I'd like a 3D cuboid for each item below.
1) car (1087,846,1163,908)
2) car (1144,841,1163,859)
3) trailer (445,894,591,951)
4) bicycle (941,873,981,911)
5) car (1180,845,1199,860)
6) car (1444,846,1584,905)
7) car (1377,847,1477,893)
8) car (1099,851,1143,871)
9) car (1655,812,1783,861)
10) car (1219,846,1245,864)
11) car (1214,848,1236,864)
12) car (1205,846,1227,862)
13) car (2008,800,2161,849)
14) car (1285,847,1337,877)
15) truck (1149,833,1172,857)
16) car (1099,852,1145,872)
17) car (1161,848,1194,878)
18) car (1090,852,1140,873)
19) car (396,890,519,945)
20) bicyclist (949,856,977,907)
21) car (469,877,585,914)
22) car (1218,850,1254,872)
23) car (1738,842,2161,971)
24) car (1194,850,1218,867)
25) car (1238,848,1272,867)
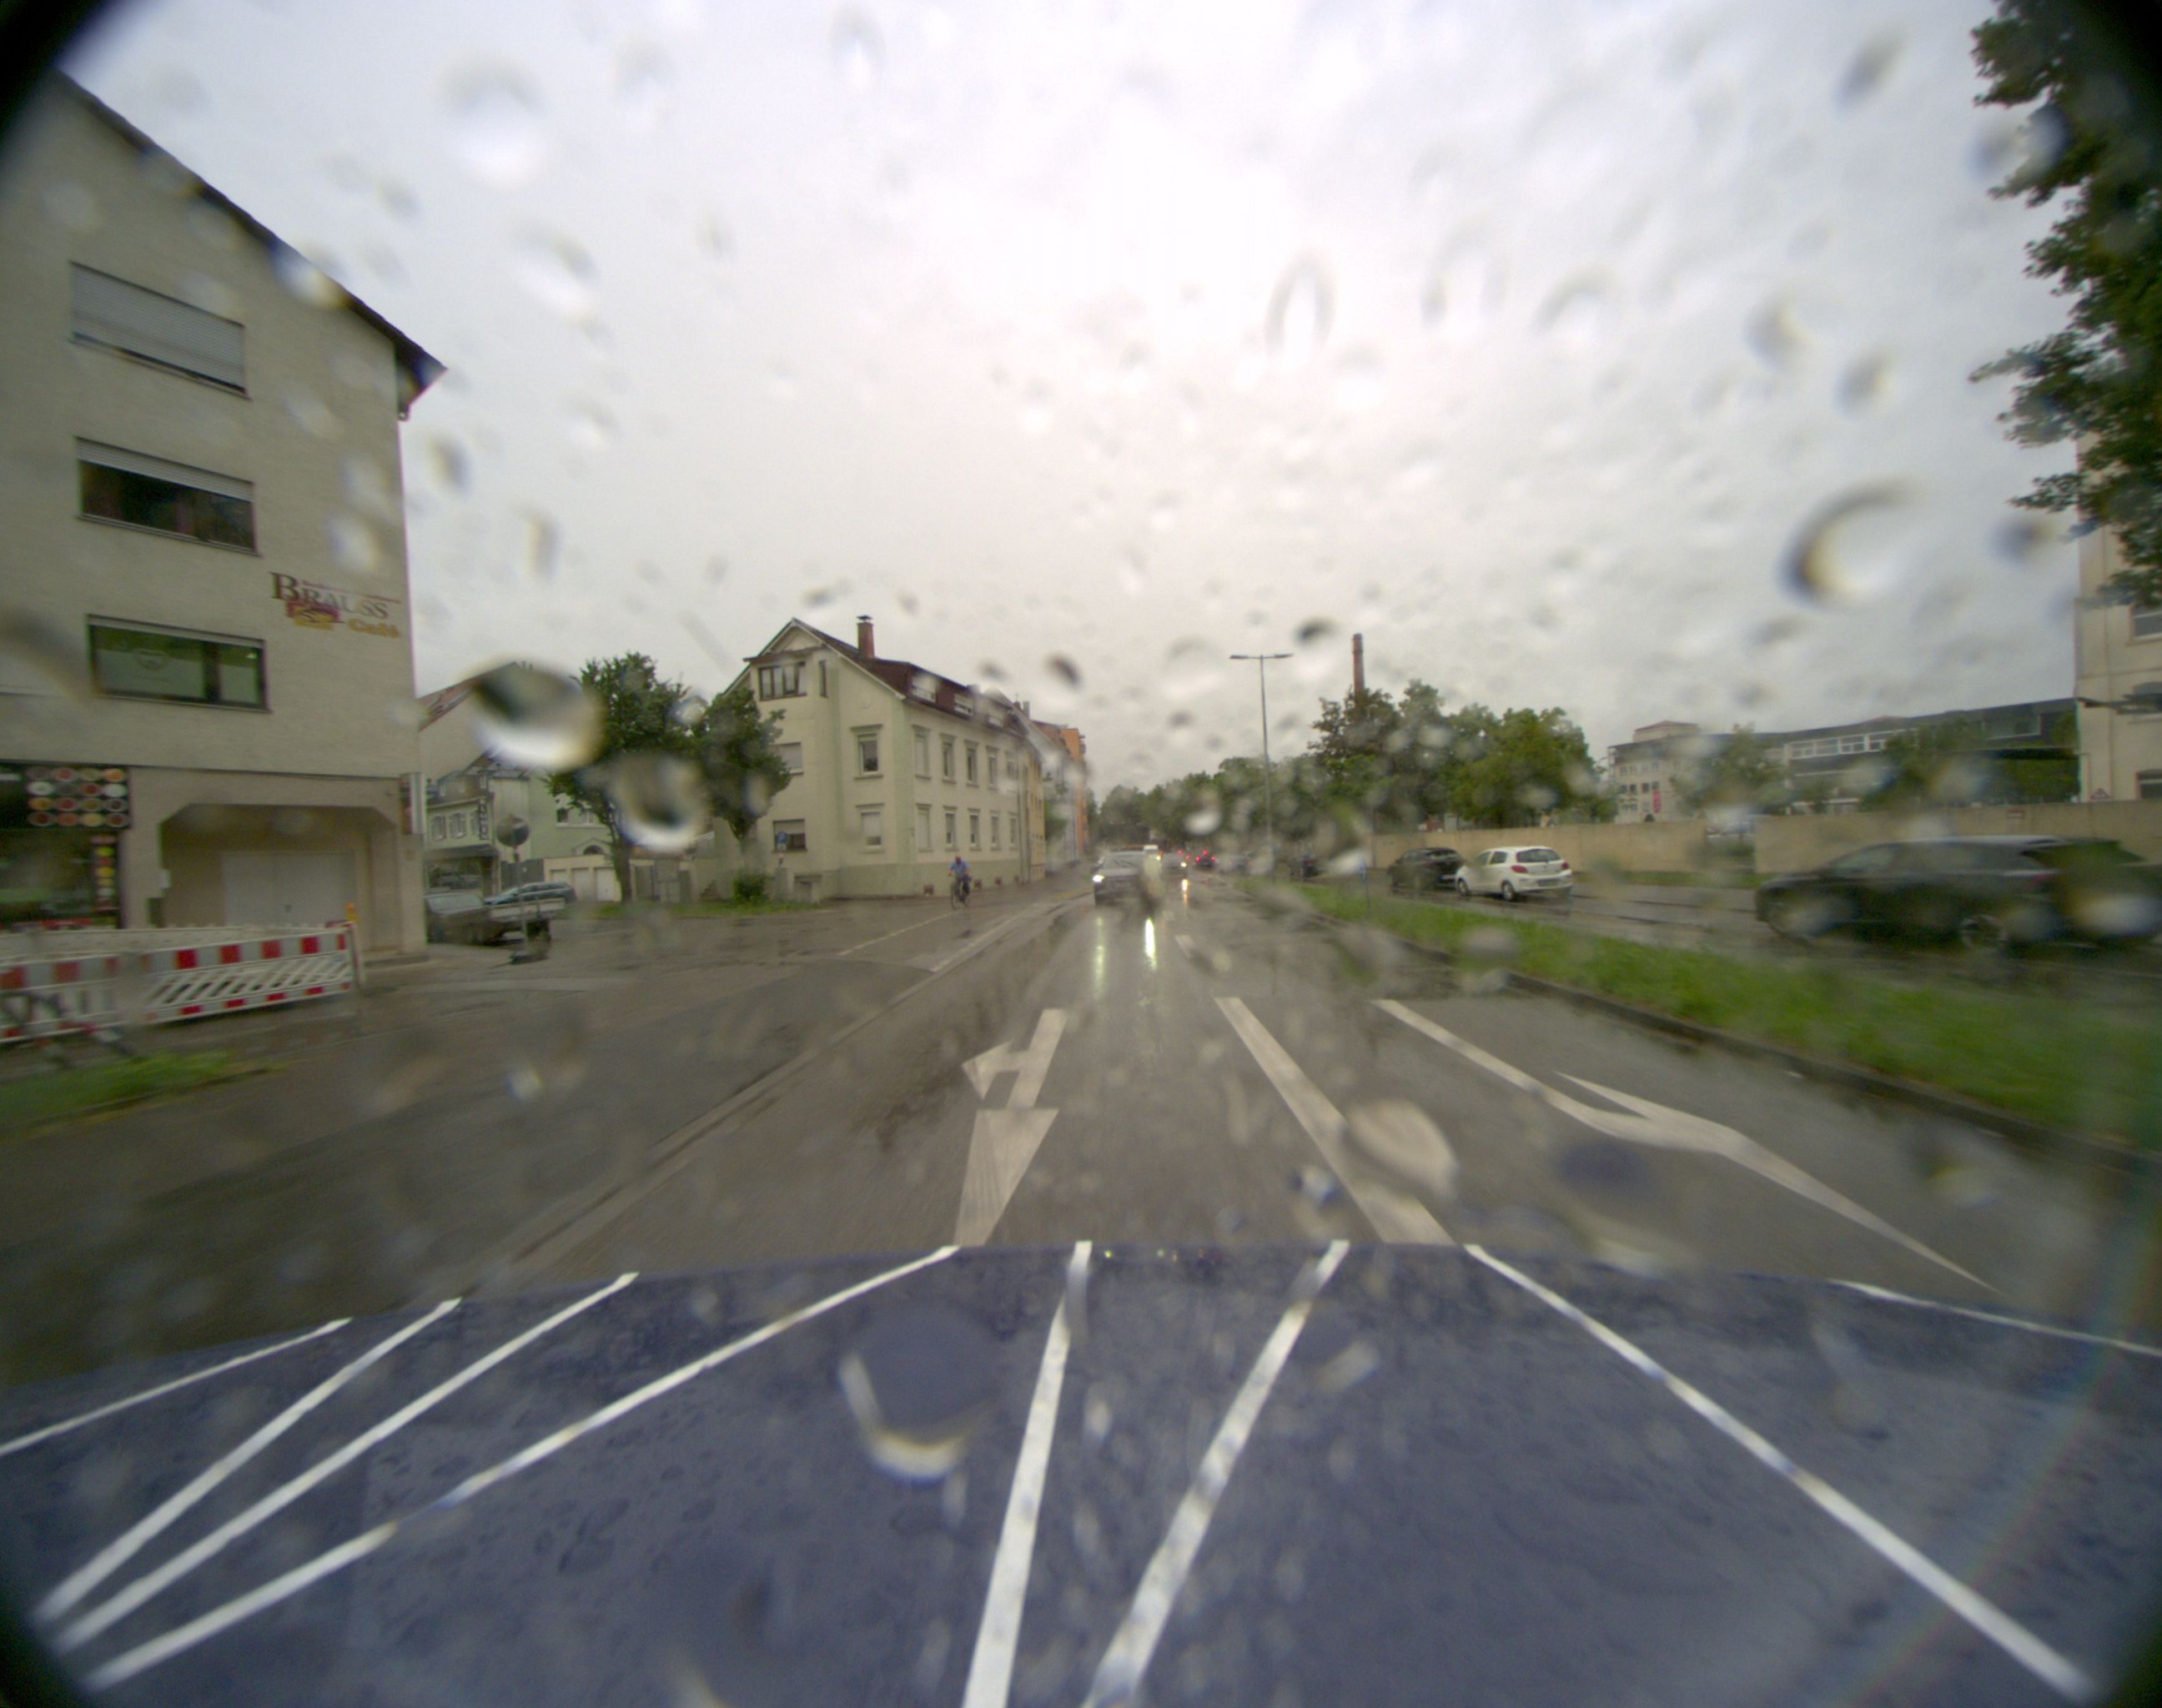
[{"bbox_3d":[1.538,0.669,24.697,1.960,1.702,4.176,-3,1,9],"label":"car"},{"bbox_3d":[9.411,-0.537,98.678,2.193,2.242,4.885,-3,1,3],"label":"car"},{"bbox_3d":[-15.296,1.798,20.573,4.522,1.225,1.828,-3,1,36],"label":"trailer"},{"bbox_3d":[-3.768,1.171,23.941,0.674,1.054,1.973,-3,0,7],"label":"bicycle"},{"bbox_3d":[13.392,-0.185,94.071,2.070,1.732,4.175,-3,1,5],"label":"car"},{"bbox_3d":[12.292,0.546,21.912,1.606,1.465,4.122,-3,1,0],"label":"car"},{"bbox_3d":[12.397,0.514,27.535,1.731,1.375,4.179,-4,1,1],"label":"car"},{"bbox_3d":[3.661,0.626,69.565,3.922,1.605,1.692,-3,1,4],"label":"car"},{"bbox_3d":[28.751,-0.753,34.333,2.003,1.980,3.990,-4,1,-34],"label":"car"},{"bbox_3d":[14.102,0.059,70.973,1.628,1.589,3.797,-3,1,0],"label":"car"},{"bbox_3d":[14.445,0.152,76.261,1.694,1.445,3.719,-3,1,4],"label":"car"},{"bbox_3d":[15.060,-0.015,85.125,1.881,1.672,4.038,-3,1,4],"label":"car"},{"bbox_3d":[40.836,-1.170,30.672,2.003,1.754,3.991,-3,0,-29],"label":"car"},{"bbox_3d":[12.757,0.411,42.345,1.700,1.437,4.097,-4,1,2],"label":"car"},{"bbox_3d":[15.818,-1.808,152.242,3.832,4.360,10.786,-3,1,4],"label":"truck"},{"bbox_3d":[3.642,0.716,67.109,3.922,1.472,1.857,-3,1,4],"label":"car"},{"bbox_3d":[5.904,0.488,46.250,1.831,1.619,4.001,-3,1,7],"label":"car"},{"bbox_3d":[2.701,0.701,59.764,3.760,1.446,1.801,-3,-1,3],"label":"car"},{"bbox_3d":[-18.999,1.887,23.114,3.989,1.395,1.741,-3,1,34],"label":"car"},{"bbox_3d":[-3.716,0.854,23.992,0.639,1.573,0.716,-3,0,7],"label":"bicyclist"},{"bbox_3d":[-28.530,2.108,39.309,1.734,1.525,4.472,-3,1,27],"label":"car"},{"bbox_3d":[10.673,0.446,52.516,1.731,1.385,3.950,0,1,1],"label":"car"},{"bbox_3d":[11.985,0.582,10.860,1.548,1.389,4.194,-4,1,1],"label":"car"},{"bbox_3d":[11.474,0.387,69.825,1.710,1.492,3.946,0,1,2],"label":"car"},{"bbox_3d":[14.276,0.264,62.637,1.778,1.451,4.680,-3,1,2],"label":"car"}]
